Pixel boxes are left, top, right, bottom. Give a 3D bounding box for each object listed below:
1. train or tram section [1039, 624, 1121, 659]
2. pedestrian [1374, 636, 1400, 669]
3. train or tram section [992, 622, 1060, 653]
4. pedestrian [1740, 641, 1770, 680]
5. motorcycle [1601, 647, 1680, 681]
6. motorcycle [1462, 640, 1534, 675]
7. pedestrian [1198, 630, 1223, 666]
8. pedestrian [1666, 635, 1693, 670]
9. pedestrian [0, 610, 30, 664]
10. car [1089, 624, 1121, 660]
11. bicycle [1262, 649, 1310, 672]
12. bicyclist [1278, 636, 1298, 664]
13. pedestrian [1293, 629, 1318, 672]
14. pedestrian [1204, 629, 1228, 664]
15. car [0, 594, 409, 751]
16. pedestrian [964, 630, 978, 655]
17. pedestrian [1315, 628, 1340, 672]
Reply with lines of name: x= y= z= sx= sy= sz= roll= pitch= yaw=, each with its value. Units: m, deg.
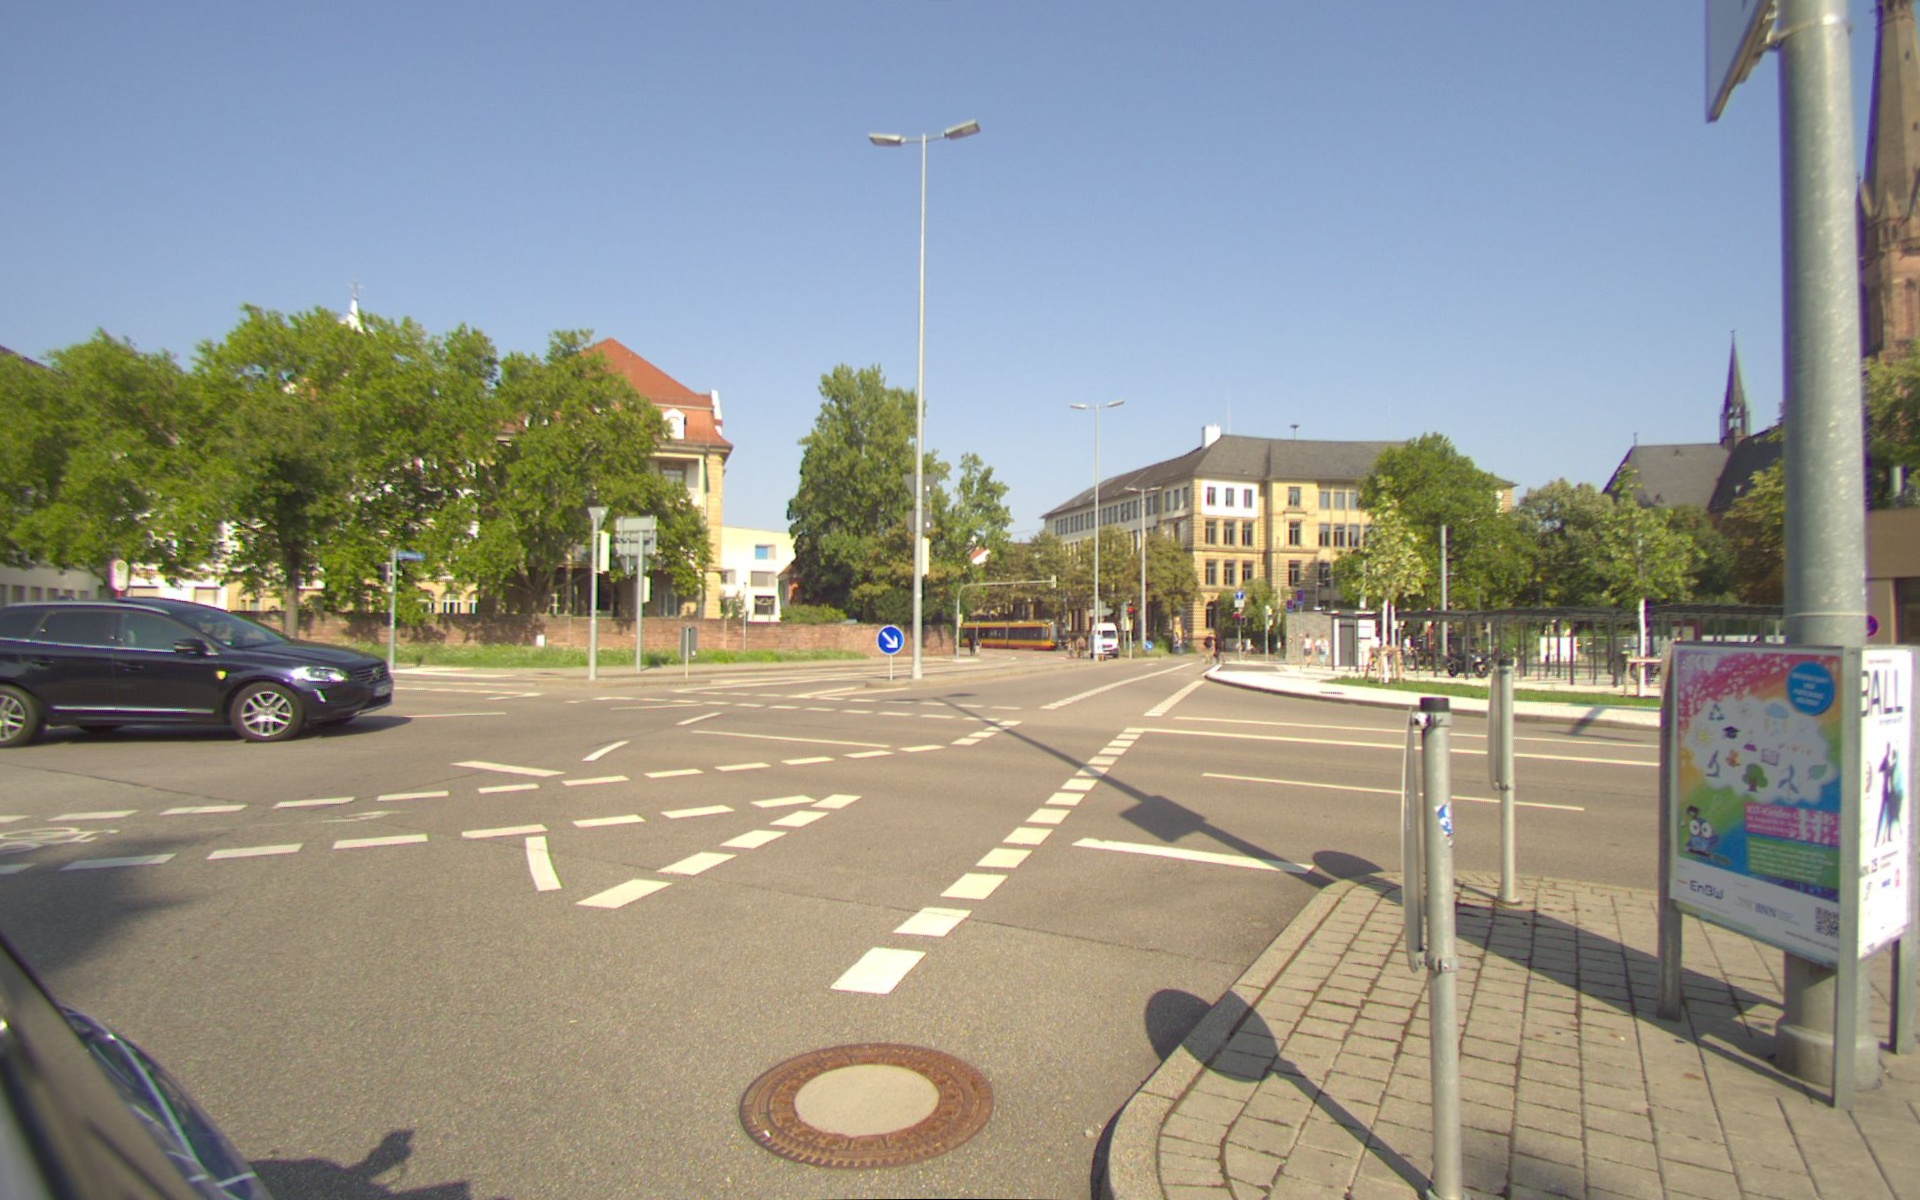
train or tram section: x=12.628 y=4.344 z=108.426 sx=2.590 sy=3.241 sz=13.936 roll=-1 pitch=0 yaw=-21
pedestrian: x=23.035 y=2.844 z=54.616 sx=0.847 sy=1.774 sz=1.010 roll=2 pitch=-3 yaw=-33
train or tram section: x=7.708 y=4.429 z=121.492 sx=2.590 sy=3.241 sz=13.936 roll=-1 pitch=0 yaw=-21
pedestrian: x=28.943 y=2.190 z=36.843 sx=0.680 sy=1.419 sz=0.590 roll=1 pitch=-2 yaw=-23
motorcycle: x=25.545 y=2.375 z=38.036 sx=0.746 sy=1.214 sz=2.382 roll=2 pitch=-3 yaw=-28
motorcycle: x=23.327 y=2.469 z=43.954 sx=0.776 sy=1.460 sz=2.778 roll=2 pitch=-3 yaw=-27
pedestrian: x=14.175 y=2.704 z=57.271 sx=1.203 sy=2.029 sz=1.334 roll=-1 pitch=-3 yaw=20
pedestrian: x=28.889 y=2.106 z=40.658 sx=0.680 sy=1.419 sz=0.590 roll=1 pitch=-2 yaw=-23
pedestrian: x=-36.172 y=1.381 z=38.247 sx=1.310 sy=2.029 sz=1.071 roll=0 pitch=-2 yaw=23
car: x=10.816 y=3.093 z=75.181 sx=1.979 sy=2.470 sz=5.532 roll=-1 pitch=0 yaw=11
bicycle: x=21.431 y=3.970 z=66.488 sx=2.828 sy=1.383 sz=1.035 roll=-1 pitch=0 yaw=8
bicyclist: x=21.523 y=3.276 z=66.490 sx=1.037 sy=1.732 sz=1.036 roll=-1 pitch=0 yaw=8
pedestrian: x=16.638 y=2.437 z=48.745 sx=0.851 sy=2.029 sz=1.006 roll=0 pitch=-3 yaw=3
pedestrian: x=14.954 y=2.697 z=59.114 sx=1.203 sy=2.029 sz=1.334 roll=-1 pitch=-3 yaw=20
car: x=-9.371 y=0.839 z=12.251 sx=4.306 sy=1.646 sz=2.002 roll=-1 pitch=-2 yaw=-5
pedestrian: x=0.937 y=3.574 z=84.718 sx=0.807 sy=2.029 sz=0.819 roll=-1 pitch=0 yaw=-31
pedestrian: x=17.586 y=2.386 z=48.414 sx=0.851 sy=2.029 sz=1.006 roll=0 pitch=-3 yaw=3
